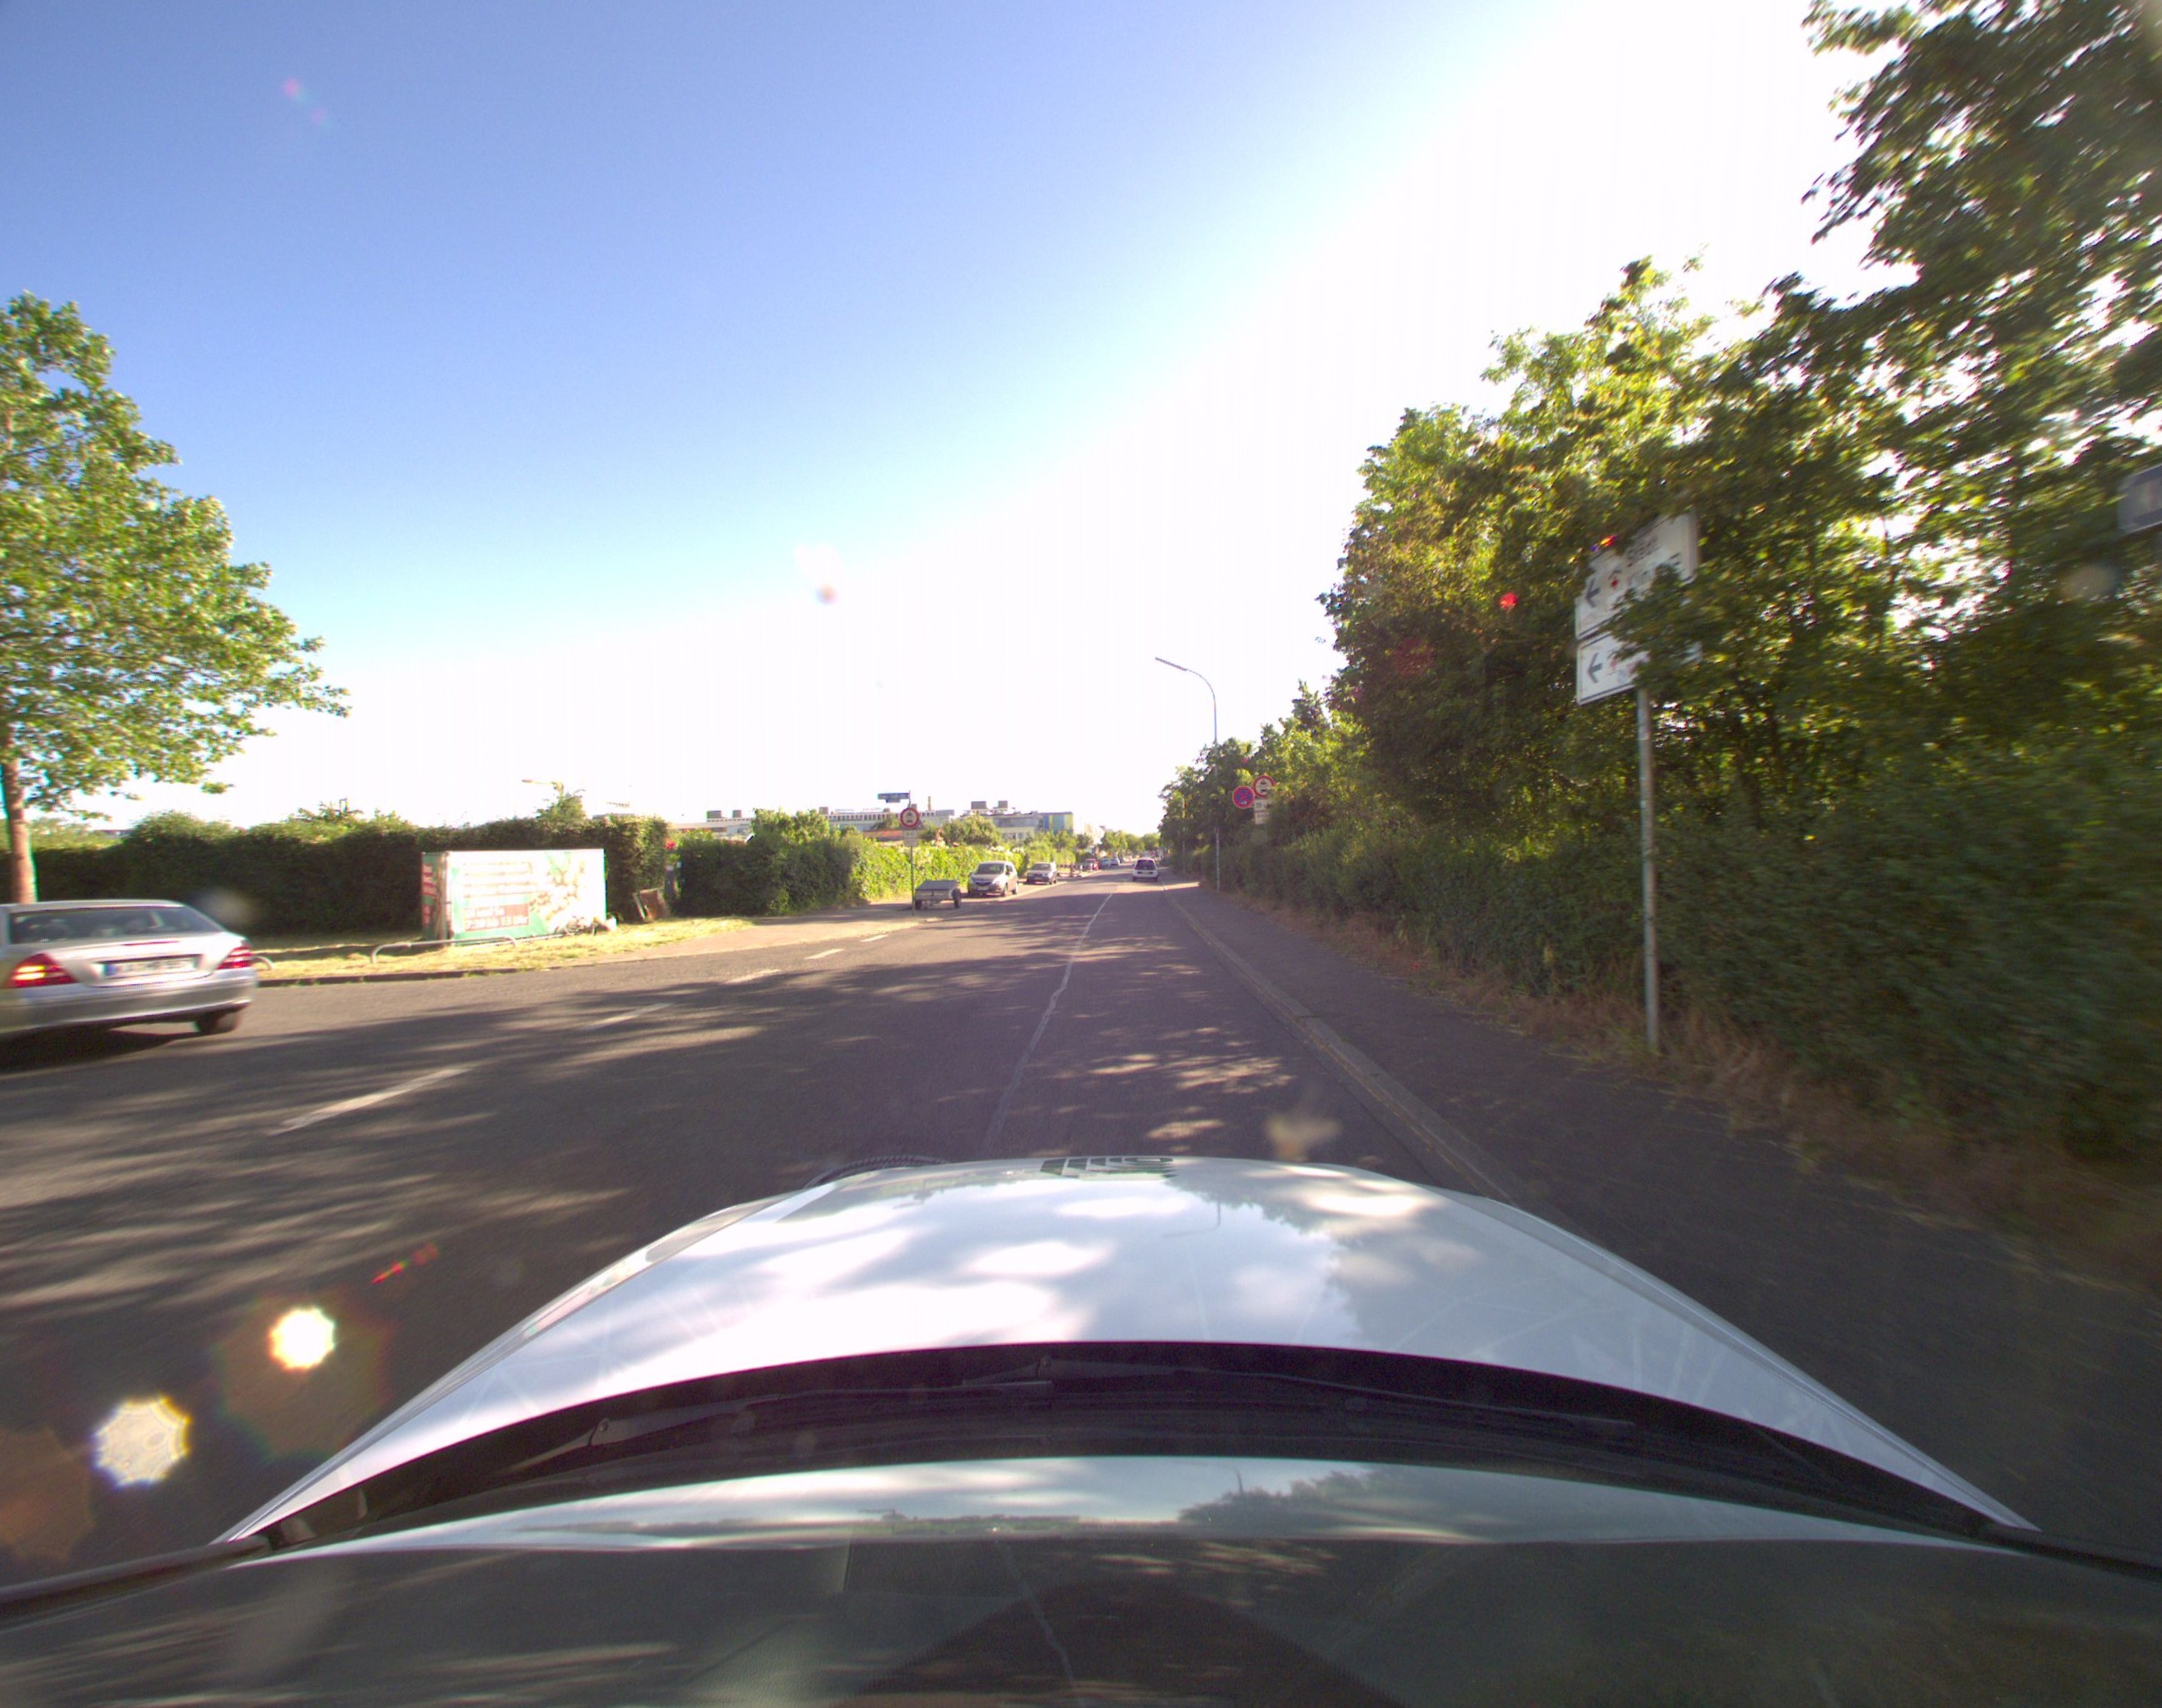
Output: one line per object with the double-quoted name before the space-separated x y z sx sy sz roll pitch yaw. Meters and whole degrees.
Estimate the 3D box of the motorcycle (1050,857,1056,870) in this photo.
"motorcycle" -2.783 0.954 81.068 0.564 1.268 2.091 0 -1 1

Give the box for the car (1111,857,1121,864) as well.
"car" 7.134 1.330 166.363 1.846 1.428 4.139 0 0 4

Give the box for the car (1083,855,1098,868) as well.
"car" 1.156 0.945 101.719 1.552 1.495 3.575 -2 0 4

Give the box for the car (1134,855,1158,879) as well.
"car" 4.381 0.835 54.718 1.548 1.538 3.560 1 0 5

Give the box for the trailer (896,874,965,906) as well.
"trailer" -4.993 1.171 27.245 1.536 0.953 2.652 0 0 7

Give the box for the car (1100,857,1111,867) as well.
"car" 4.108 1.317 137.034 1.552 1.495 3.763 -2 0 4

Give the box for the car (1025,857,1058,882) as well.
"car" -2.614 1.007 55.147 1.636 1.556 4.423 -2 0 4

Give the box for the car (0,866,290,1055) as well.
"car" -10.084 0.932 8.179 3.950 1.453 1.753 -2 1 25

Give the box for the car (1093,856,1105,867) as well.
"car" 2.634 1.098 120.031 1.552 1.495 3.575 1 0 4

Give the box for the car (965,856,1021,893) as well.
"car" -3.972 0.889 37.493 1.635 1.600 4.319 0 0 7
